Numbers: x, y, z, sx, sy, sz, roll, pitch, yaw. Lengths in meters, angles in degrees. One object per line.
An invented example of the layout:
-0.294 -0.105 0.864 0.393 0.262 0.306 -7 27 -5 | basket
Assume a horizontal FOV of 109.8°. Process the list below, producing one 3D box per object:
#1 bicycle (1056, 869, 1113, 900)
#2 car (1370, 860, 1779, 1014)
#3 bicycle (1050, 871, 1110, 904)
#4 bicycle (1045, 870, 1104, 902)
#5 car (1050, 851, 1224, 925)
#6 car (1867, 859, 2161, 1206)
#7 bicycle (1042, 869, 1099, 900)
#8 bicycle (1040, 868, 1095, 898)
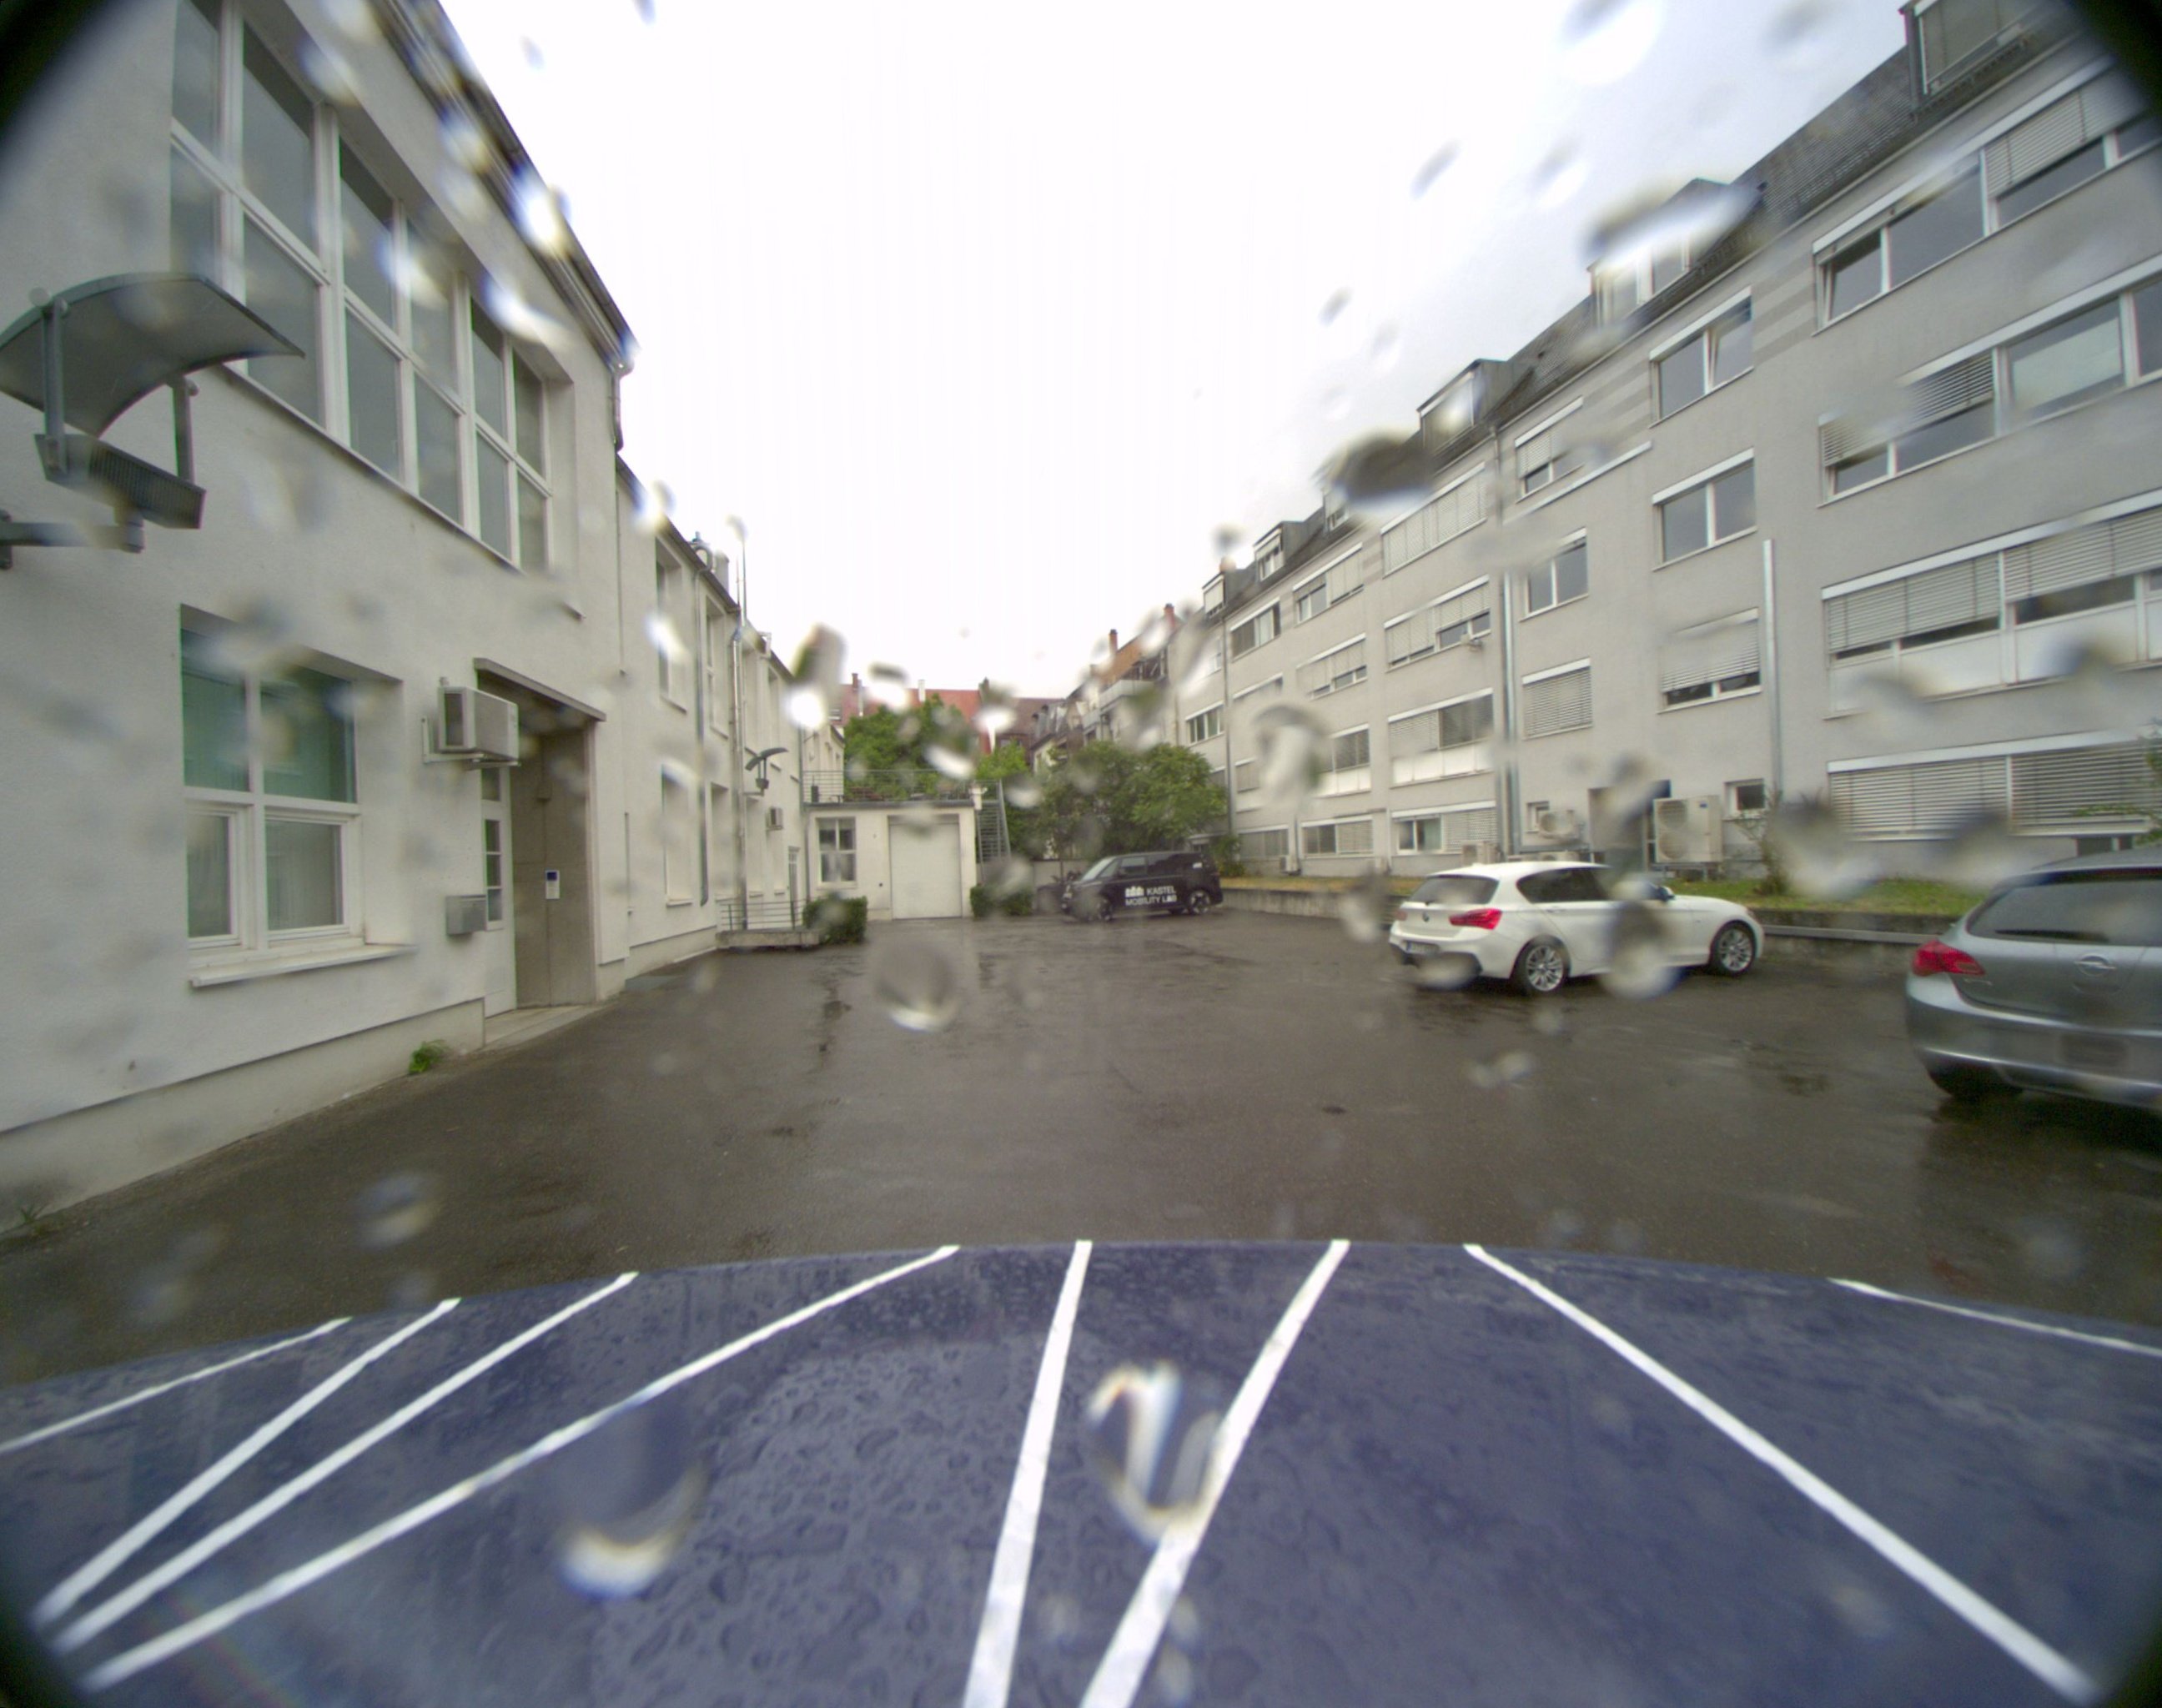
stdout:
0.154 1.274 32.110 2.321 1.180 0.643 -2 2 -10 | bicycle
5.841 0.859 9.114 4.155 1.425 1.751 -2 0 -15 | car
-0.057 1.328 30.590 2.321 1.180 0.643 -2 2 -10 | bicycle
-0.275 1.311 31.361 2.321 1.180 0.643 -2 2 -10 | bicycle
1.622 0.960 22.347 4.634 1.825 1.986 -2 -1 -17 | car
6.783 0.763 4.000 4.181 1.474 1.820 -2 -1 -15 | car
-0.441 1.280 32.516 2.321 1.180 0.643 -2 2 -10 | bicycle
-0.599 1.266 33.130 2.321 1.180 0.643 -2 2 -10 | bicycle
